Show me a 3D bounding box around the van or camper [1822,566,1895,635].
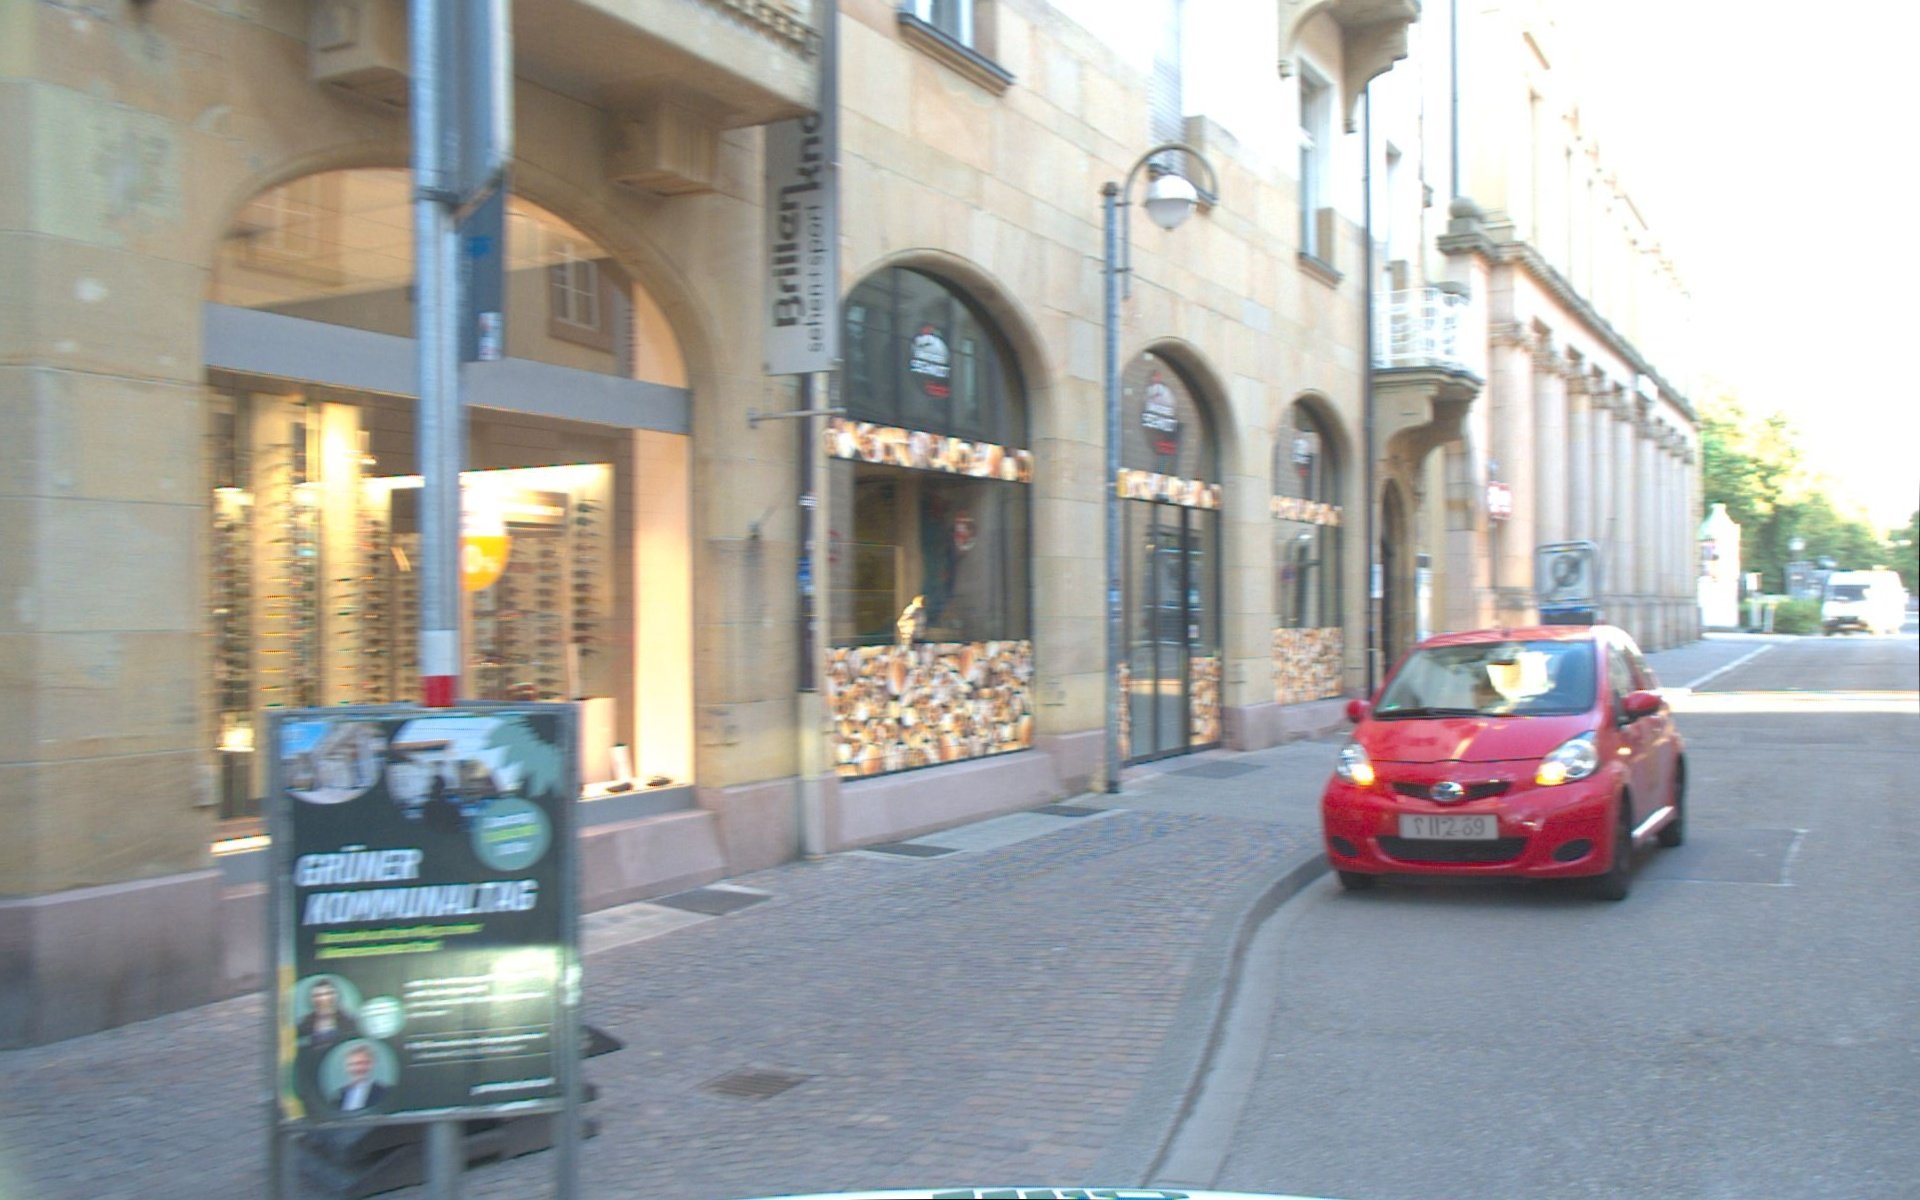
[{"bbox_3d":[35.819,0.011,65.841,2.179,2.630,6.355,-1,0,32],"label":"van or camper"}]

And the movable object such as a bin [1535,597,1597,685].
[{"bbox_3d":[10.863,0.709,29.634,0.813,1.529,1.288,0,0,31],"label":"movable object such as a bin"}]

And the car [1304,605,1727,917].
[{"bbox_3d":[3.583,0.837,10.201,1.627,1.495,3.923,-4,-2,31],"label":"car"}]
